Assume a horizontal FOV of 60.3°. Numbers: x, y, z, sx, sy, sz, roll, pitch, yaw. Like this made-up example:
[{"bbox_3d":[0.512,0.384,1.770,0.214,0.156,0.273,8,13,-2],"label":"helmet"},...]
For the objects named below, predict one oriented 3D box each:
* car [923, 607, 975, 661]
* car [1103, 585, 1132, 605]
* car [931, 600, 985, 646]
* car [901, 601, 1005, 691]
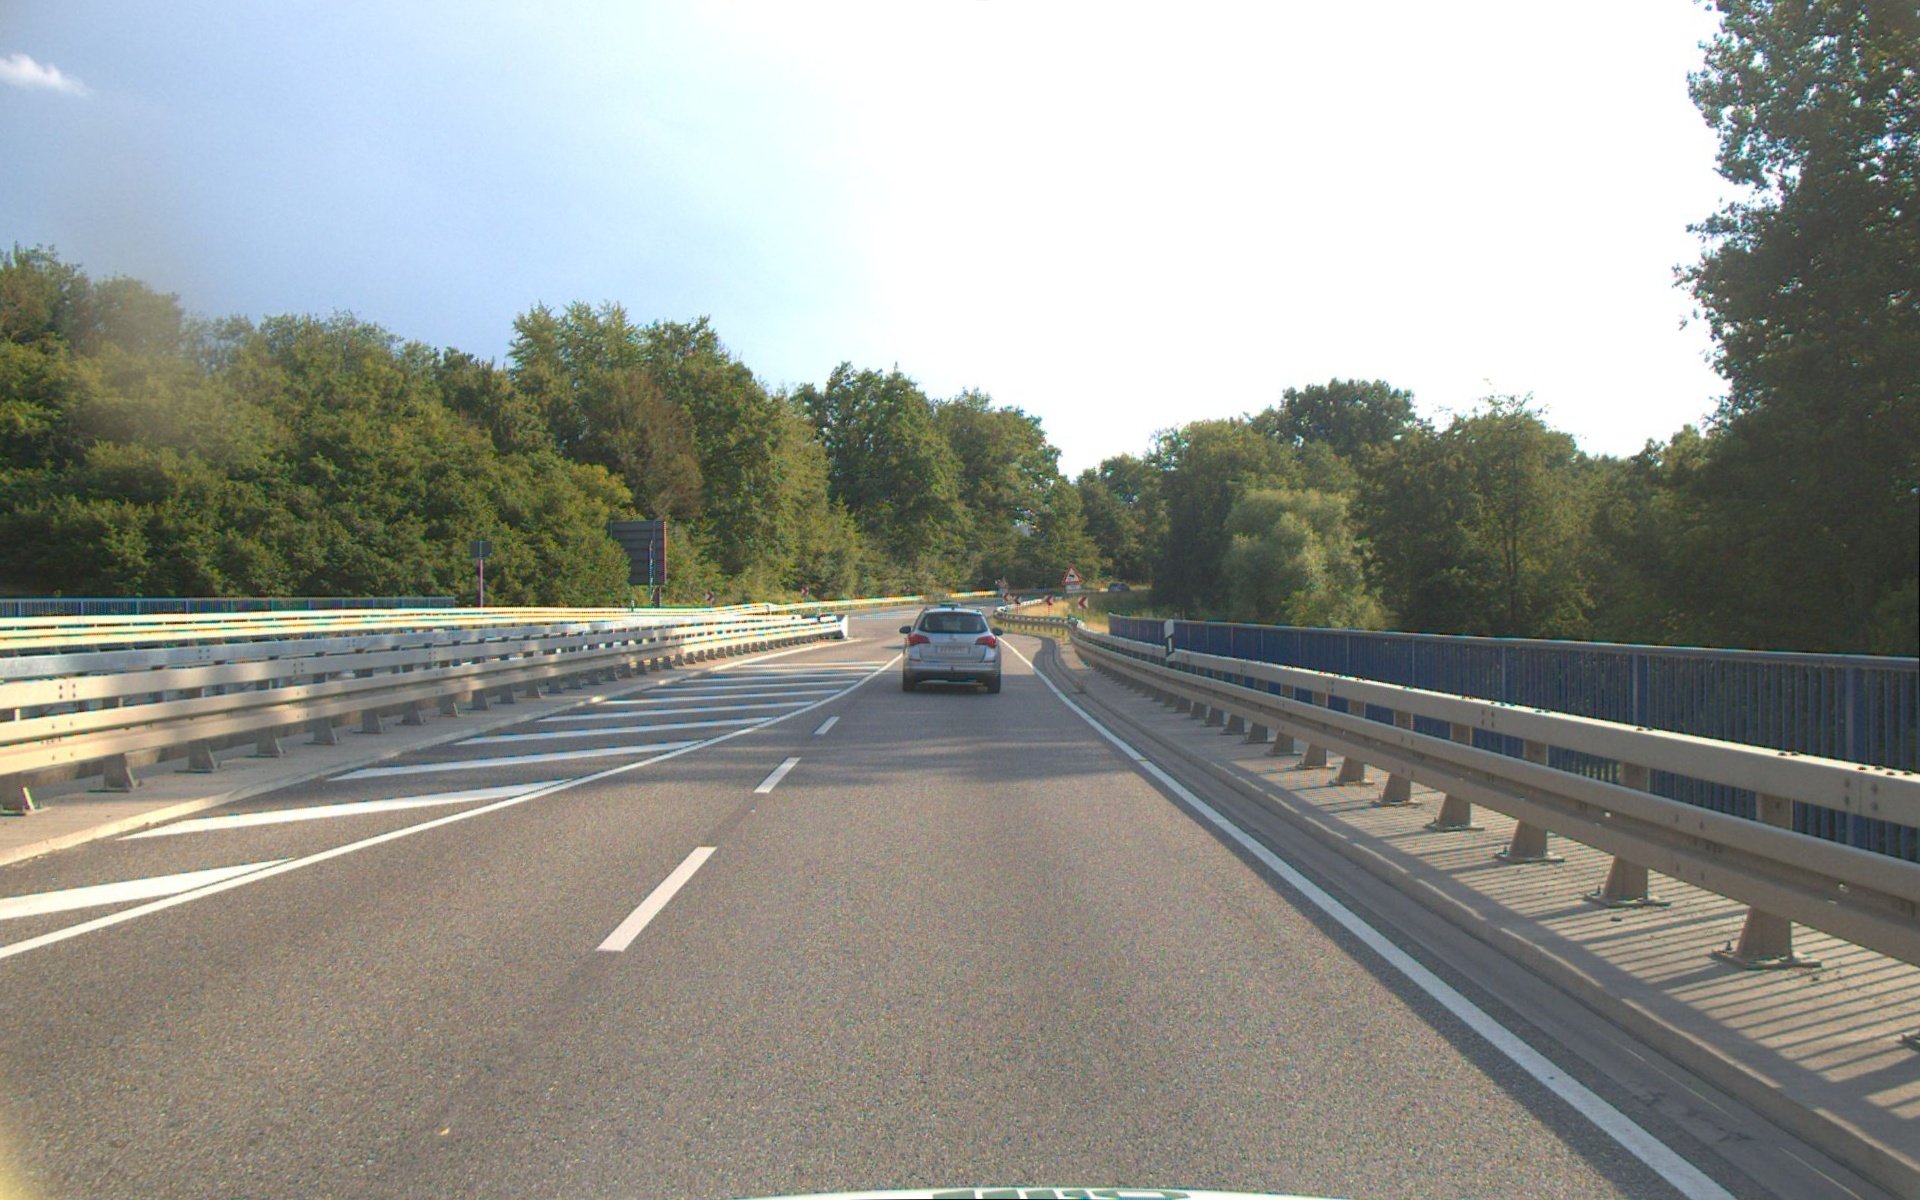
[{"bbox_3d":[-0.462,1.334,64.841,1.953,2.049,3.998,1,-1,-2],"label":"car"},{"bbox_3d":[17.119,-0.571,179.910,1.954,2.049,3.997,0,-2,24],"label":"car"},{"bbox_3d":[-0.109,0.828,58.015,1.772,1.512,3.998,1,-1,-2],"label":"car"},{"bbox_3d":[-0.170,0.832,30.357,1.772,1.512,3.998,1,-1,-2],"label":"car"}]
